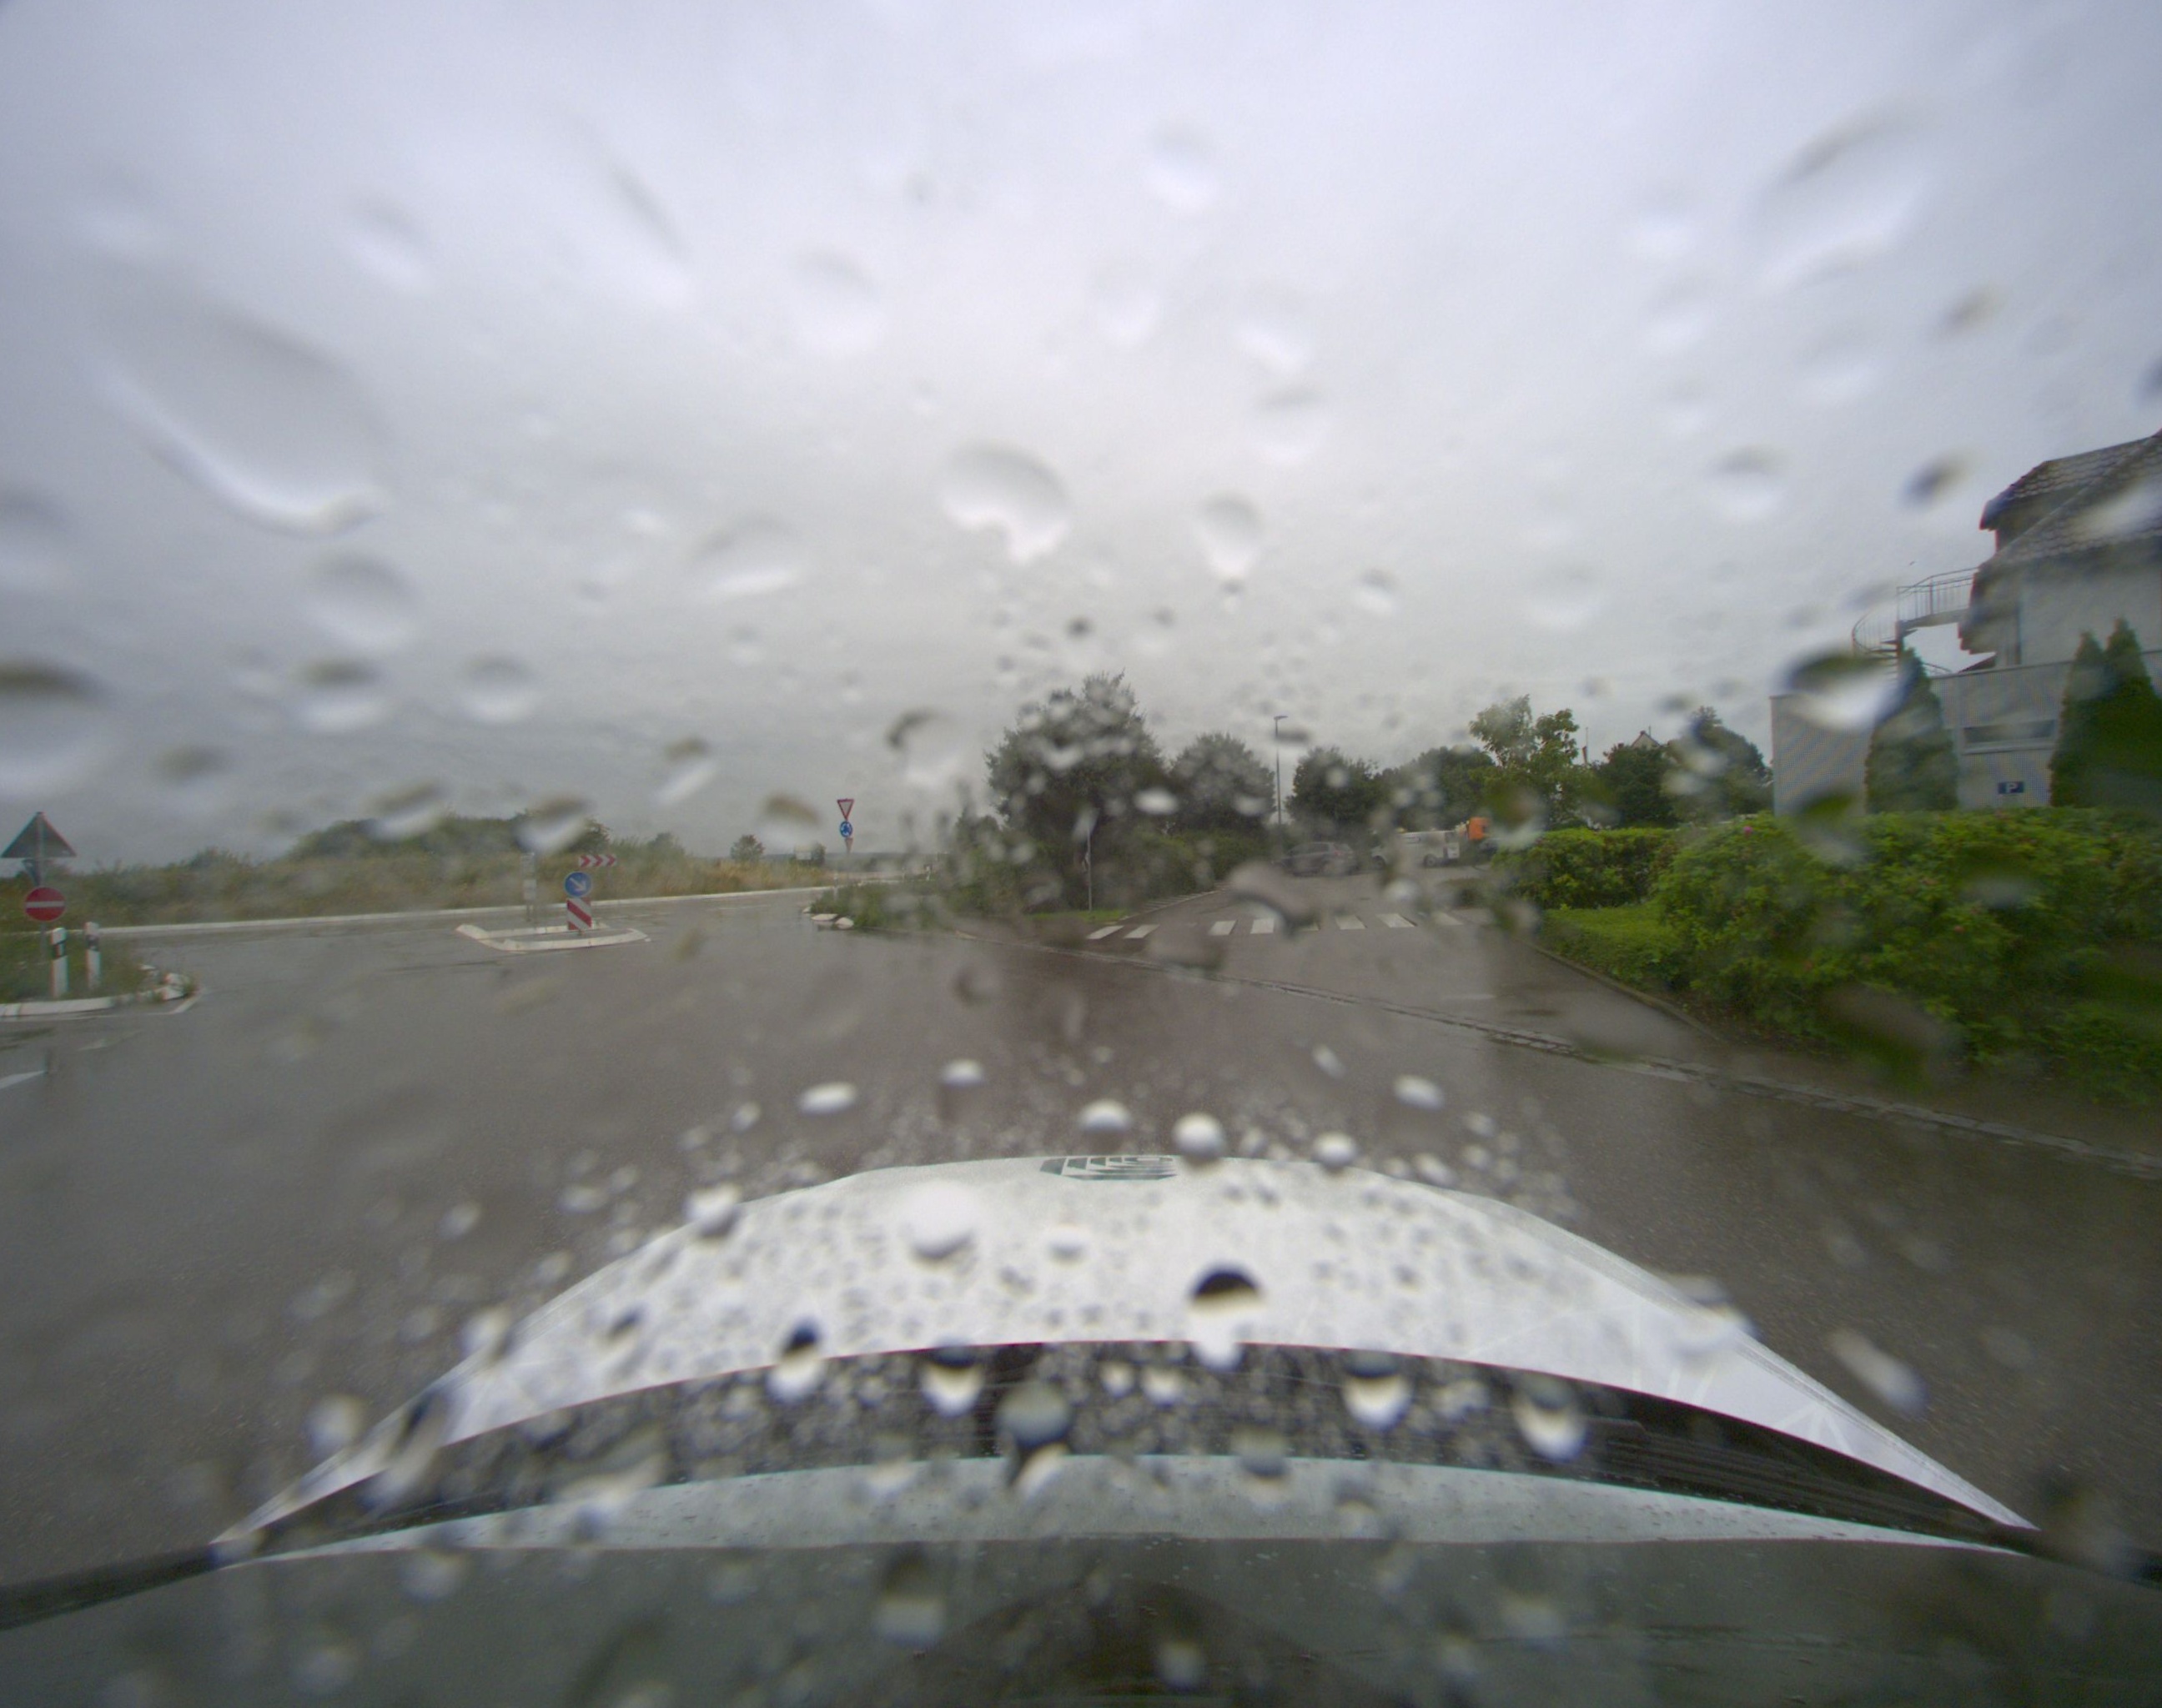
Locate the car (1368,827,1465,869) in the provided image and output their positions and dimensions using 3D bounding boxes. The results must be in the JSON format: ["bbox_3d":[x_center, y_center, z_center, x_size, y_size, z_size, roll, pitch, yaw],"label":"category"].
[{"bbox_3d":[18.146,-0.308,44.226,1.654,2.033,4.479,-3,0,-44],"label":"car"}]

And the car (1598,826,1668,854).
[{"bbox_3d":[32.604,-0.799,48.214,1.575,1.458,3.680,-3,0,1],"label":"car"}]

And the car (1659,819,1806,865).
[{"bbox_3d":[24.630,-0.438,30.889,1.728,1.497,4.137,-3,-1,-44],"label":"car"}]

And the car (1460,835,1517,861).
[{"bbox_3d":[24.356,-0.339,48.761,1.546,1.458,3.680,-3,0,1],"label":"car"}]

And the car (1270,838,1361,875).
[{"bbox_3d":[10.759,0.140,37.502,1.459,1.551,3.698,-3,0,-44],"label":"car"}]

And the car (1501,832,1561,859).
[{"bbox_3d":[27.221,-0.479,49.351,1.575,1.458,3.680,-3,0,1],"label":"car"}]
